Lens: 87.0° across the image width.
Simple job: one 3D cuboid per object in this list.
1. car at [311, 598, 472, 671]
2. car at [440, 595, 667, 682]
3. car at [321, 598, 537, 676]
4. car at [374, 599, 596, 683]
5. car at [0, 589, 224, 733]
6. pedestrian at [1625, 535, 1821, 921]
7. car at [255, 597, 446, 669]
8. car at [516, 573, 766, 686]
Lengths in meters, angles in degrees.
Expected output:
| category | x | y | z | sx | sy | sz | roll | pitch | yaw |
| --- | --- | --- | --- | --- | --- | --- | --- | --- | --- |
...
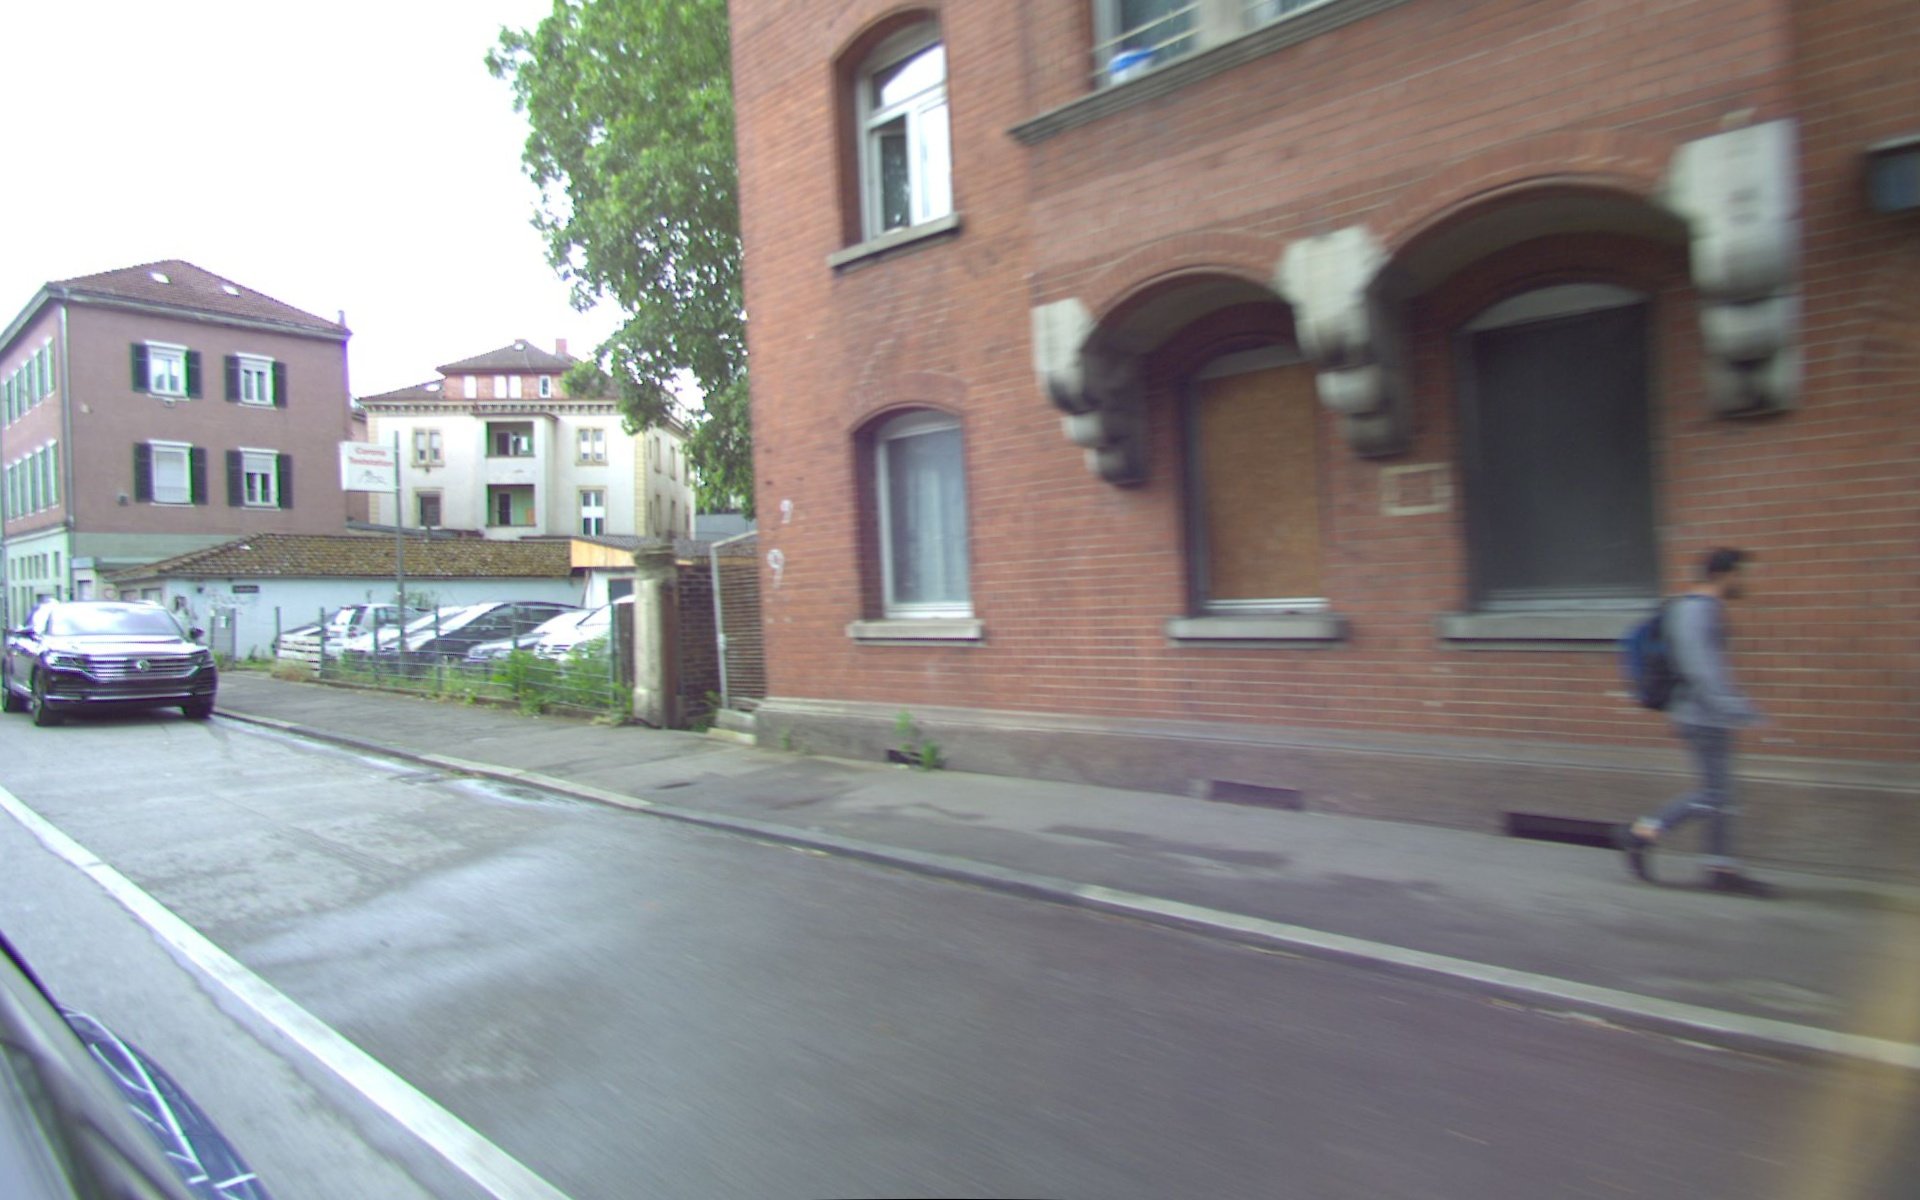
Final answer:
| category | x | y | z | sx | sy | sz | roll | pitch | yaw |
| --- | --- | --- | --- | --- | --- | --- | --- | --- | --- |
| car | -13.191 | 0.762 | 23.555 | 1.852 | 1.577 | 2.818 | -1 | -1 | 40 |
| car | -7.344 | 0.658 | 18.526 | 1.546 | 1.425 | 3.559 | -1 | -1 | 40 |
| car | -11.302 | 0.750 | 21.701 | 1.852 | 1.516 | 3.685 | -1 | -1 | 40 |
| car | -9.335 | 0.759 | 20.053 | 1.852 | 1.516 | 3.559 | -1 | -1 | 40 |
| car | -12.617 | 0.804 | 14.772 | 4.770 | 1.747 | 1.934 | -2 | 0 | 40 |
| pedestrian | 3.550 | 0.533 | 4.706 | 0.632 | 1.621 | 0.653 | -2 | 1 | 40 |
| car | -15.146 | 0.782 | 25.278 | 1.852 | 1.655 | 3.724 | -1 | -1 | 40 |
| car | -5.098 | 0.453 | 16.483 | 1.687 | 1.624 | 3.559 | -1 | -1 | 40 |
